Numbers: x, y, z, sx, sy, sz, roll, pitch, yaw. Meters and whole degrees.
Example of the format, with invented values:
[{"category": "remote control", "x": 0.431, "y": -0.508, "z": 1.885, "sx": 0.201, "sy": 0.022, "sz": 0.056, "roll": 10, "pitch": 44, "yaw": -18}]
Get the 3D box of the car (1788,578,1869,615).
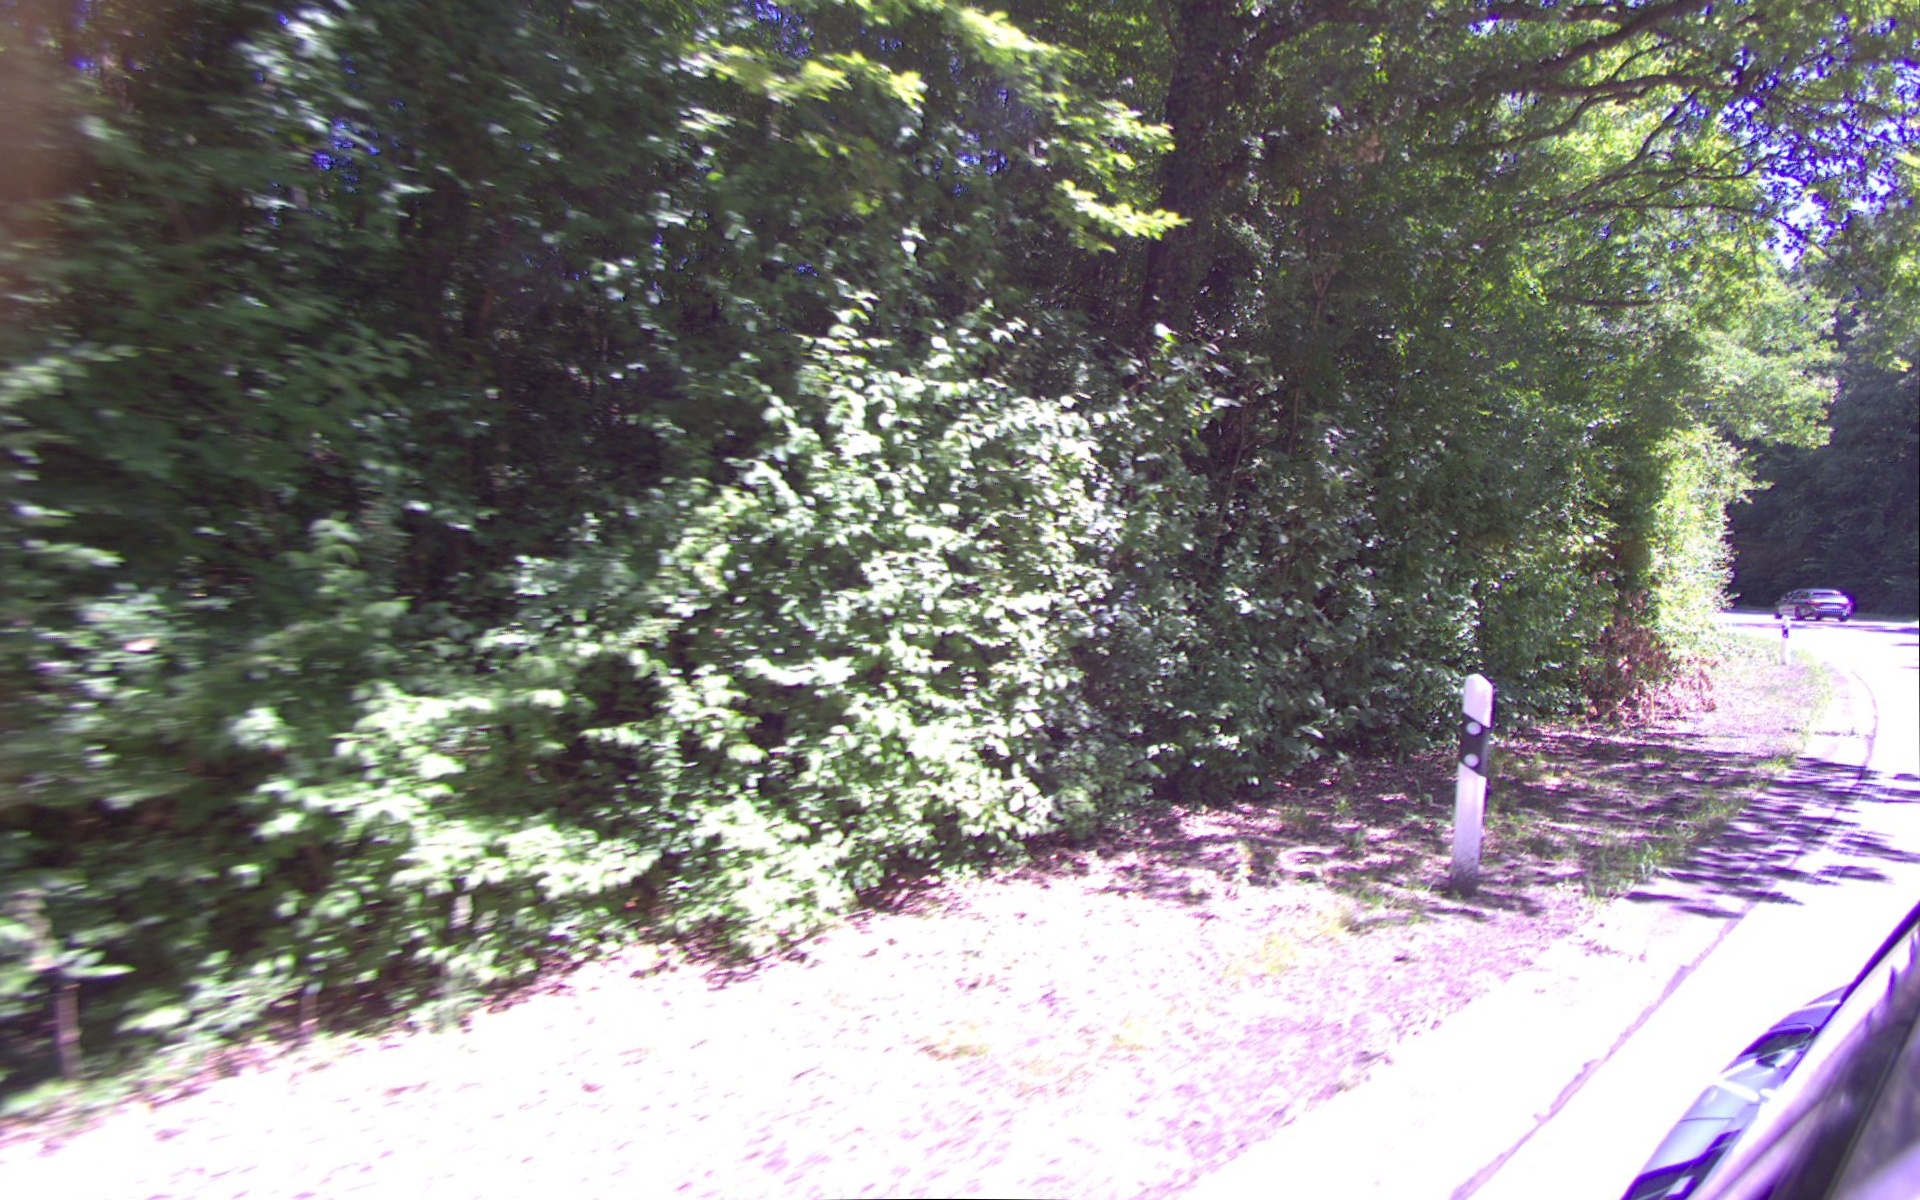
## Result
[{"category": "car", "x": 39.729, "y": -0.212, "z": 46.414, "sx": 1.744, "sy": 1.593, "sz": 4.329, "roll": 1, "pitch": 2, "yaw": 26}]
